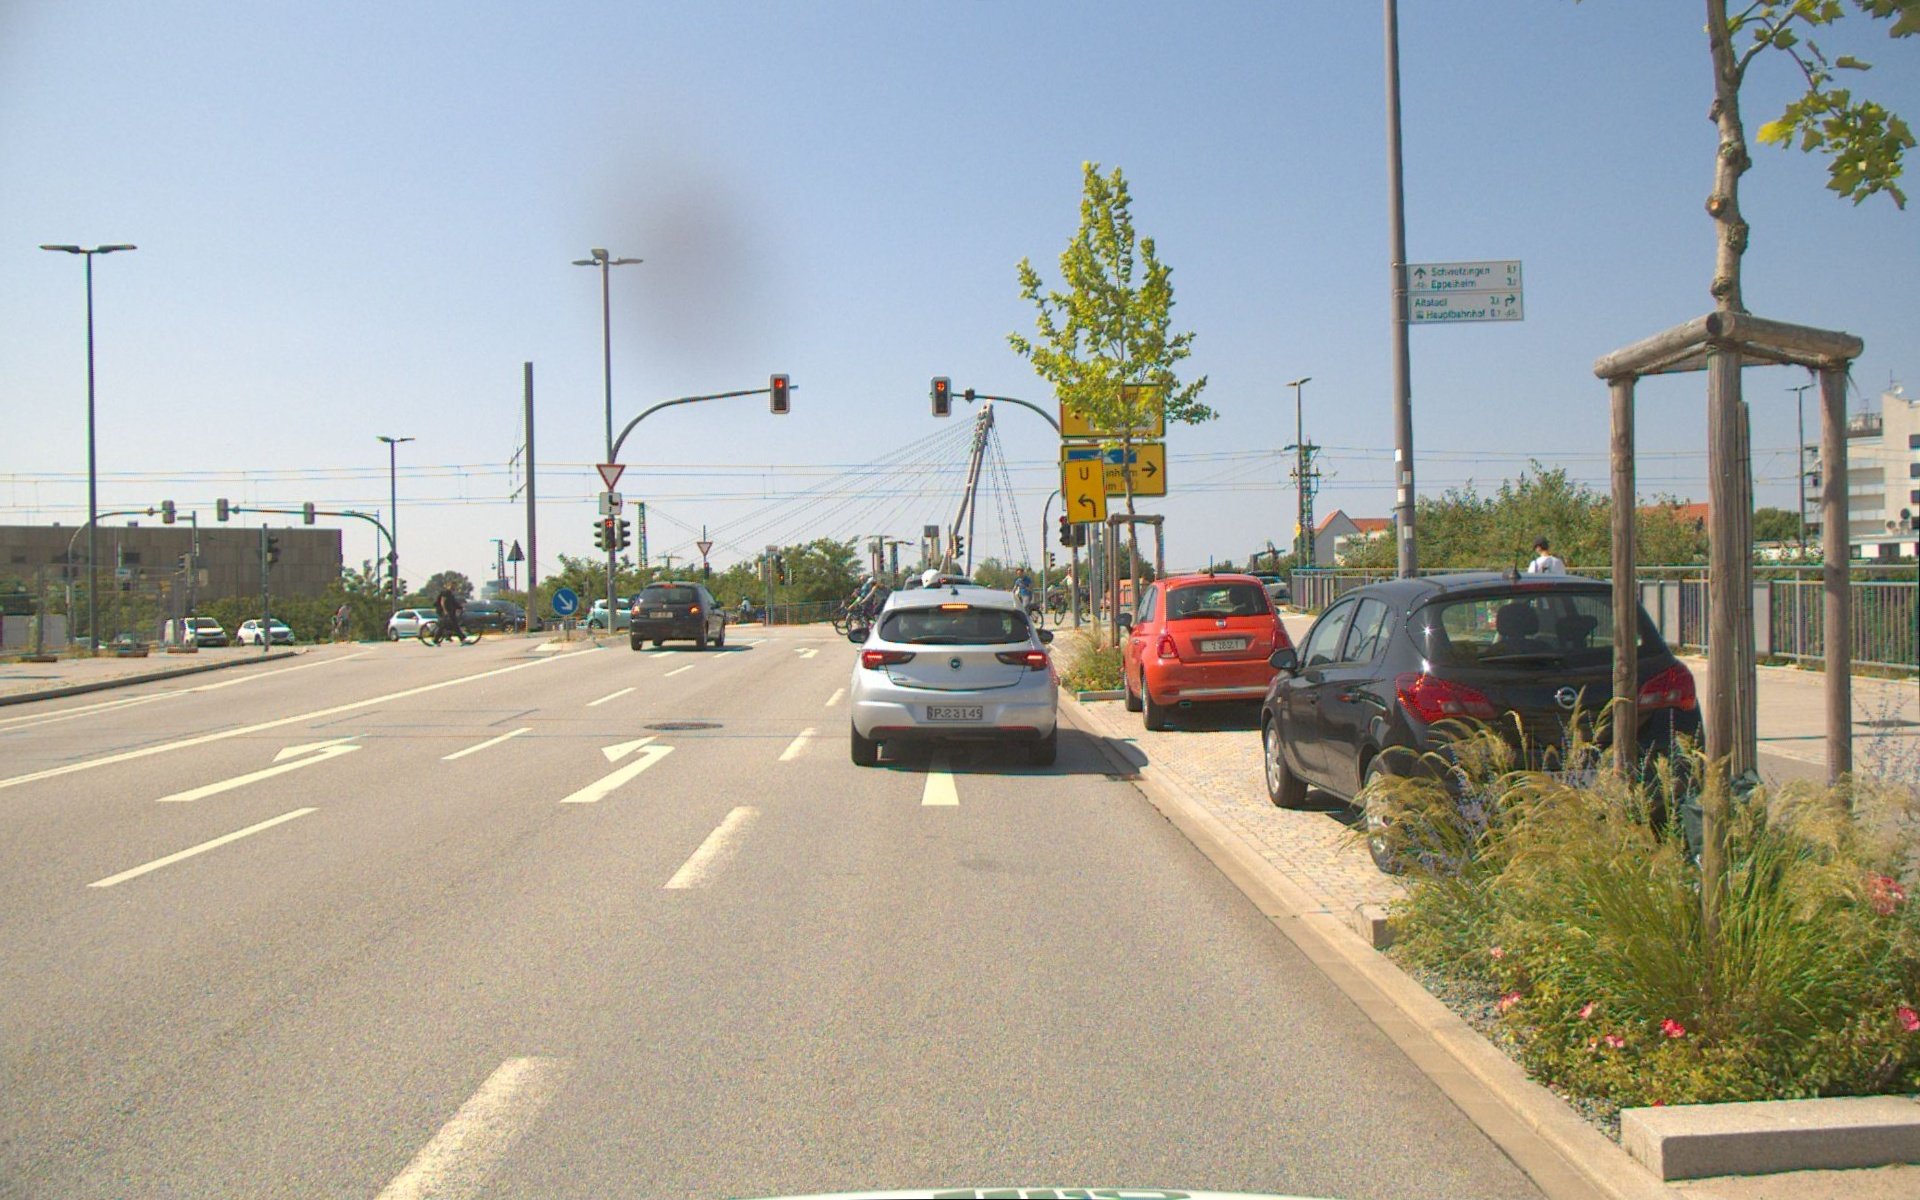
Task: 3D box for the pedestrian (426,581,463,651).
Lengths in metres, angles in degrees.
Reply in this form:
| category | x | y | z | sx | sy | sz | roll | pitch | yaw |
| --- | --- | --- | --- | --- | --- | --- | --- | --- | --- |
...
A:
| category | x | y | z | sx | sy | sz | roll | pitch | yaw |
| --- | --- | --- | --- | --- | --- | --- | --- | --- | --- |
| pedestrian | -14.075 | 0.432 | 45.168 | 0.724 | 1.896 | 0.754 | 1 | -1 | 2 |

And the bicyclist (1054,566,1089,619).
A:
| category | x | y | z | sx | sy | sz | roll | pitch | yaw |
| --- | --- | --- | --- | --- | --- | --- | --- | --- | --- |
| bicyclist | 3.419 | -0.219 | 50.627 | 0.803 | 1.596 | 0.948 | 1 | -1 | 20 |

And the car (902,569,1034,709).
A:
| category | x | y | z | sx | sy | sz | roll | pitch | yaw |
| --- | --- | --- | --- | --- | --- | --- | --- | --- | --- |
| car | 0.074 | 0.490 | 22.290 | 1.601 | 1.703 | 3.744 | 1 | 0 | -1 |

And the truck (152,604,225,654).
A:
| category | x | y | z | sx | sy | sz | roll | pitch | yaw |
| --- | --- | --- | --- | --- | --- | --- | --- | --- | --- |
| truck | -41.271 | 1.539 | 88.444 | 4.628 | 2.585 | 1.987 | 0 | 0 | 44 |

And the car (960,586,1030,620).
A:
| category | x | y | z | sx | sy | sz | roll | pitch | yaw |
| --- | --- | --- | --- | --- | --- | --- | --- | --- | --- |
| car | 1.787 | 0.178 | 84.632 | 3.320 | 1.684 | 1.643 | 1 | 0 | -11 |

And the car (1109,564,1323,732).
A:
| category | x | y | z | sx | sy | sz | roll | pitch | yaw |
| --- | --- | --- | --- | --- | --- | --- | --- | --- | --- |
| car | 2.683 | 0.477 | 18.155 | 1.636 | 1.566 | 3.916 | -2 | 0 | -1 |

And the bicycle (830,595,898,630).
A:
| category | x | y | z | sx | sy | sz | roll | pitch | yaw |
| --- | --- | --- | --- | --- | --- | --- | --- | --- | --- |
| bicycle | -3.233 | 0.414 | 55.921 | 2.271 | 1.153 | 0.637 | 0 | 0 | 0 |

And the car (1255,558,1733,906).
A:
| category | x | y | z | sx | sy | sz | roll | pitch | yaw |
| --- | --- | --- | --- | --- | --- | --- | --- | --- | --- |
| car | 2.889 | 0.608 | 9.724 | 1.549 | 1.582 | 3.546 | -3 | 1 | -1 |

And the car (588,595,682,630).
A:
| category | x | y | z | sx | sy | sz | roll | pitch | yaw |
| --- | --- | --- | --- | --- | --- | --- | --- | --- | --- |
| car | -14.215 | 0.540 | 72.415 | 3.709 | 1.386 | 1.534 | -1 | 1 | 11 |

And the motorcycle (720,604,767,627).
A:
| category | x | y | z | sx | sy | sz | roll | pitch | yaw |
| --- | --- | --- | --- | --- | --- | --- | --- | --- | --- |
| motorcycle | -11.956 | 0.863 | 91.253 | 2.485 | 1.255 | 0.648 | 1 | -1 | -1 |

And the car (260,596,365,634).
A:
| category | x | y | z | sx | sy | sz | roll | pitch | yaw |
| --- | --- | --- | --- | --- | --- | --- | --- | --- | --- |
| car | -28.354 | 0.663 | 72.512 | 3.893 | 1.578 | 1.675 | -1 | -1 | 0 |

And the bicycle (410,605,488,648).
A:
| category | x | y | z | sx | sy | sz | roll | pitch | yaw |
| --- | --- | --- | --- | --- | --- | --- | --- | --- | --- |
| bicycle | -14.325 | 0.749 | 46.449 | 2.046 | 1.198 | 0.553 | 1 | -1 | -15 |

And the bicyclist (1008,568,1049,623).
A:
| category | x | y | z | sx | sy | sz | roll | pitch | yaw |
| --- | --- | --- | --- | --- | --- | --- | --- | --- | --- |
| bicyclist | 1.979 | -0.125 | 47.789 | 0.818 | 1.587 | 0.850 | 1 | -1 | -43 |

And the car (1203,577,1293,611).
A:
| category | x | y | z | sx | sy | sz | roll | pitch | yaw |
| --- | --- | --- | --- | --- | --- | --- | --- | --- | --- |
| car | 14.852 | -0.297 | 85.326 | 4.179 | 1.703 | 1.990 | 0 | 0 | -18 |

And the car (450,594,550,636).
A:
| category | x | y | z | sx | sy | sz | roll | pitch | yaw |
| --- | --- | --- | --- | --- | --- | --- | --- | --- | --- |
| car | -19.661 | 0.639 | 70.714 | 3.668 | 1.610 | 1.816 | -1 | 4 | 4 |

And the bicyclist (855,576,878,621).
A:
| category | x | y | z | sx | sy | sz | roll | pitch | yaw |
| --- | --- | --- | --- | --- | --- | --- | --- | --- | --- |
| bicyclist | -3.164 | -0.053 | 55.940 | 0.704 | 1.530 | 0.824 | 0 | 0 | 0 |

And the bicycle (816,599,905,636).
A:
| category | x | y | z | sx | sy | sz | roll | pitch | yaw |
| --- | --- | --- | --- | --- | --- | --- | --- | --- | --- |
| bicycle | -2.770 | 0.480 | 46.319 | 2.453 | 1.025 | 0.605 | 0 | 0 | 0 |

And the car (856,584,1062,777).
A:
| category | x | y | z | sx | sy | sz | roll | pitch | yaw |
| --- | --- | --- | --- | --- | --- | --- | --- | --- | --- |
| car | -0.034 | 0.629 | 15.406 | 1.656 | 1.546 | 4.270 | 0 | 0 | -1 |

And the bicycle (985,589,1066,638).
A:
| category | x | y | z | sx | sy | sz | roll | pitch | yaw |
| --- | --- | --- | --- | --- | --- | --- | --- | --- | --- |
| bicycle | 1.899 | 0.386 | 47.714 | 2.514 | 1.153 | 0.717 | -7 | 4 | -43 |

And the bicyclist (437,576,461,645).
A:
| category | x | y | z | sx | sy | sz | roll | pitch | yaw |
| --- | --- | --- | --- | --- | --- | --- | --- | --- | --- |
| bicyclist | -14.352 | 0.300 | 46.439 | 0.584 | 1.920 | 0.634 | 1 | -1 | -14 |

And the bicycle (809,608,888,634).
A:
| category | x | y | z | sx | sy | sz | roll | pitch | yaw |
| --- | --- | --- | --- | --- | --- | --- | --- | --- | --- |
| bicycle | -3.181 | 0.601 | 47.187 | 2.200 | 0.704 | 0.516 | 0 | 0 | 0 |

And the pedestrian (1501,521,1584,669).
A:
| category | x | y | z | sx | sy | sz | roll | pitch | yaw |
| --- | --- | --- | --- | --- | --- | --- | --- | --- | --- |
| pedestrian | 7.522 | -0.061 | 21.394 | 0.742 | 1.862 | 0.885 | 1 | -1 | -1 |

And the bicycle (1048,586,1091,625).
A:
| category | x | y | z | sx | sy | sz | roll | pitch | yaw |
| --- | --- | --- | --- | --- | --- | --- | --- | --- | --- |
| bicycle | 3.352 | 0.169 | 50.422 | 0.661 | 1.147 | 2.365 | 1 | 0 | 20 |

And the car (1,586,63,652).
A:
| category | x | y | z | sx | sy | sz | roll | pitch | yaw |
| --- | --- | --- | --- | --- | --- | --- | --- | --- | --- |
| car | -30.130 | 0.596 | 53.673 | 1.652 | 2.049 | 3.959 | 1 | 0 | -30 |

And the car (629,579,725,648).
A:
| category | x | y | z | sx | sy | sz | roll | pitch | yaw |
| --- | --- | --- | --- | --- | --- | --- | --- | --- | --- |
| car | -6.135 | 0.292 | 36.106 | 1.555 | 1.419 | 3.339 | -1 | 0 | -1 |

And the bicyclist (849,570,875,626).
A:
| category | x | y | z | sx | sy | sz | roll | pitch | yaw |
| --- | --- | --- | --- | --- | --- | --- | --- | --- | --- |
| bicyclist | -2.730 | -0.056 | 46.327 | 0.643 | 1.528 | 0.844 | 1 | 0 | 1 |

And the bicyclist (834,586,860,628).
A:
| category | x | y | z | sx | sy | sz | roll | pitch | yaw |
| --- | --- | --- | --- | --- | --- | --- | --- | --- | --- |
| bicyclist | -3.218 | 0.200 | 47.194 | 0.643 | 1.196 | 0.731 | 1 | 0 | 1 |

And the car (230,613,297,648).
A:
| category | x | y | z | sx | sy | sz | roll | pitch | yaw |
| --- | --- | --- | --- | --- | --- | --- | --- | --- | --- |
| car | -38.121 | 1.637 | 90.534 | 3.975 | 1.846 | 1.920 | 0 | 0 | 43 |

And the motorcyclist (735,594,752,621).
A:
| category | x | y | z | sx | sy | sz | roll | pitch | yaw |
| --- | --- | --- | --- | --- | --- | --- | --- | --- | --- |
| motorcyclist | -11.942 | 0.403 | 91.251 | 0.792 | 1.502 | 0.885 | 1 | 0 | 0 |
